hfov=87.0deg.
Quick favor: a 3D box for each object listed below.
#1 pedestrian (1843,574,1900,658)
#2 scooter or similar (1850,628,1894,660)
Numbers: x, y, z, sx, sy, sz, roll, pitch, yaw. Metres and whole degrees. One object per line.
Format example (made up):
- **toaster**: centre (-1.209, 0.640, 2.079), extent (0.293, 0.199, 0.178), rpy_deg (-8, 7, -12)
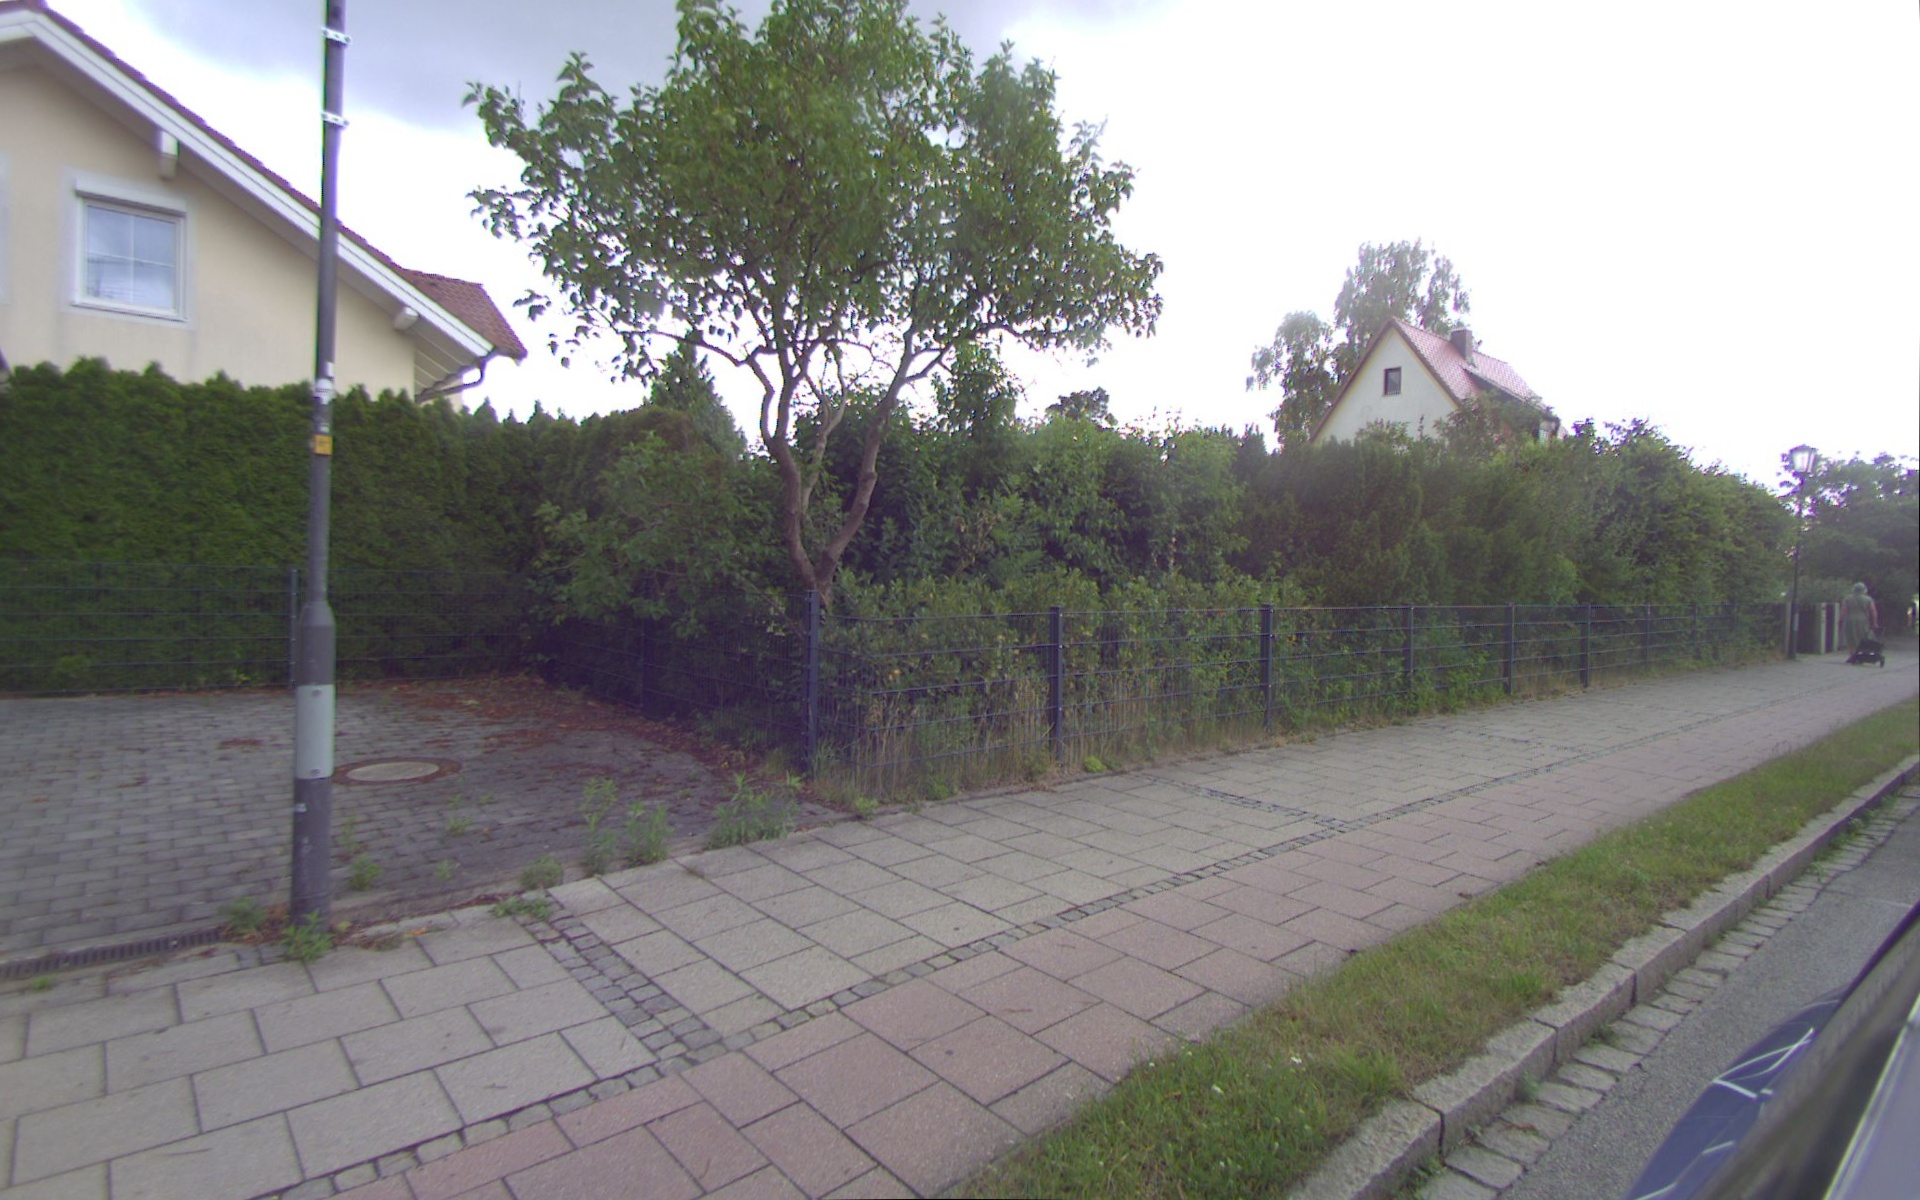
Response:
- **pedestrian**: centre (18.155, 0.297, 20.169), extent (0.790, 1.622, 0.661), rpy_deg (2, 2, 42)
- **scooter or similar**: centre (17.703, 0.844, 19.640), extent (0.616, 0.563, 0.730), rpy_deg (2, 1, 44)
